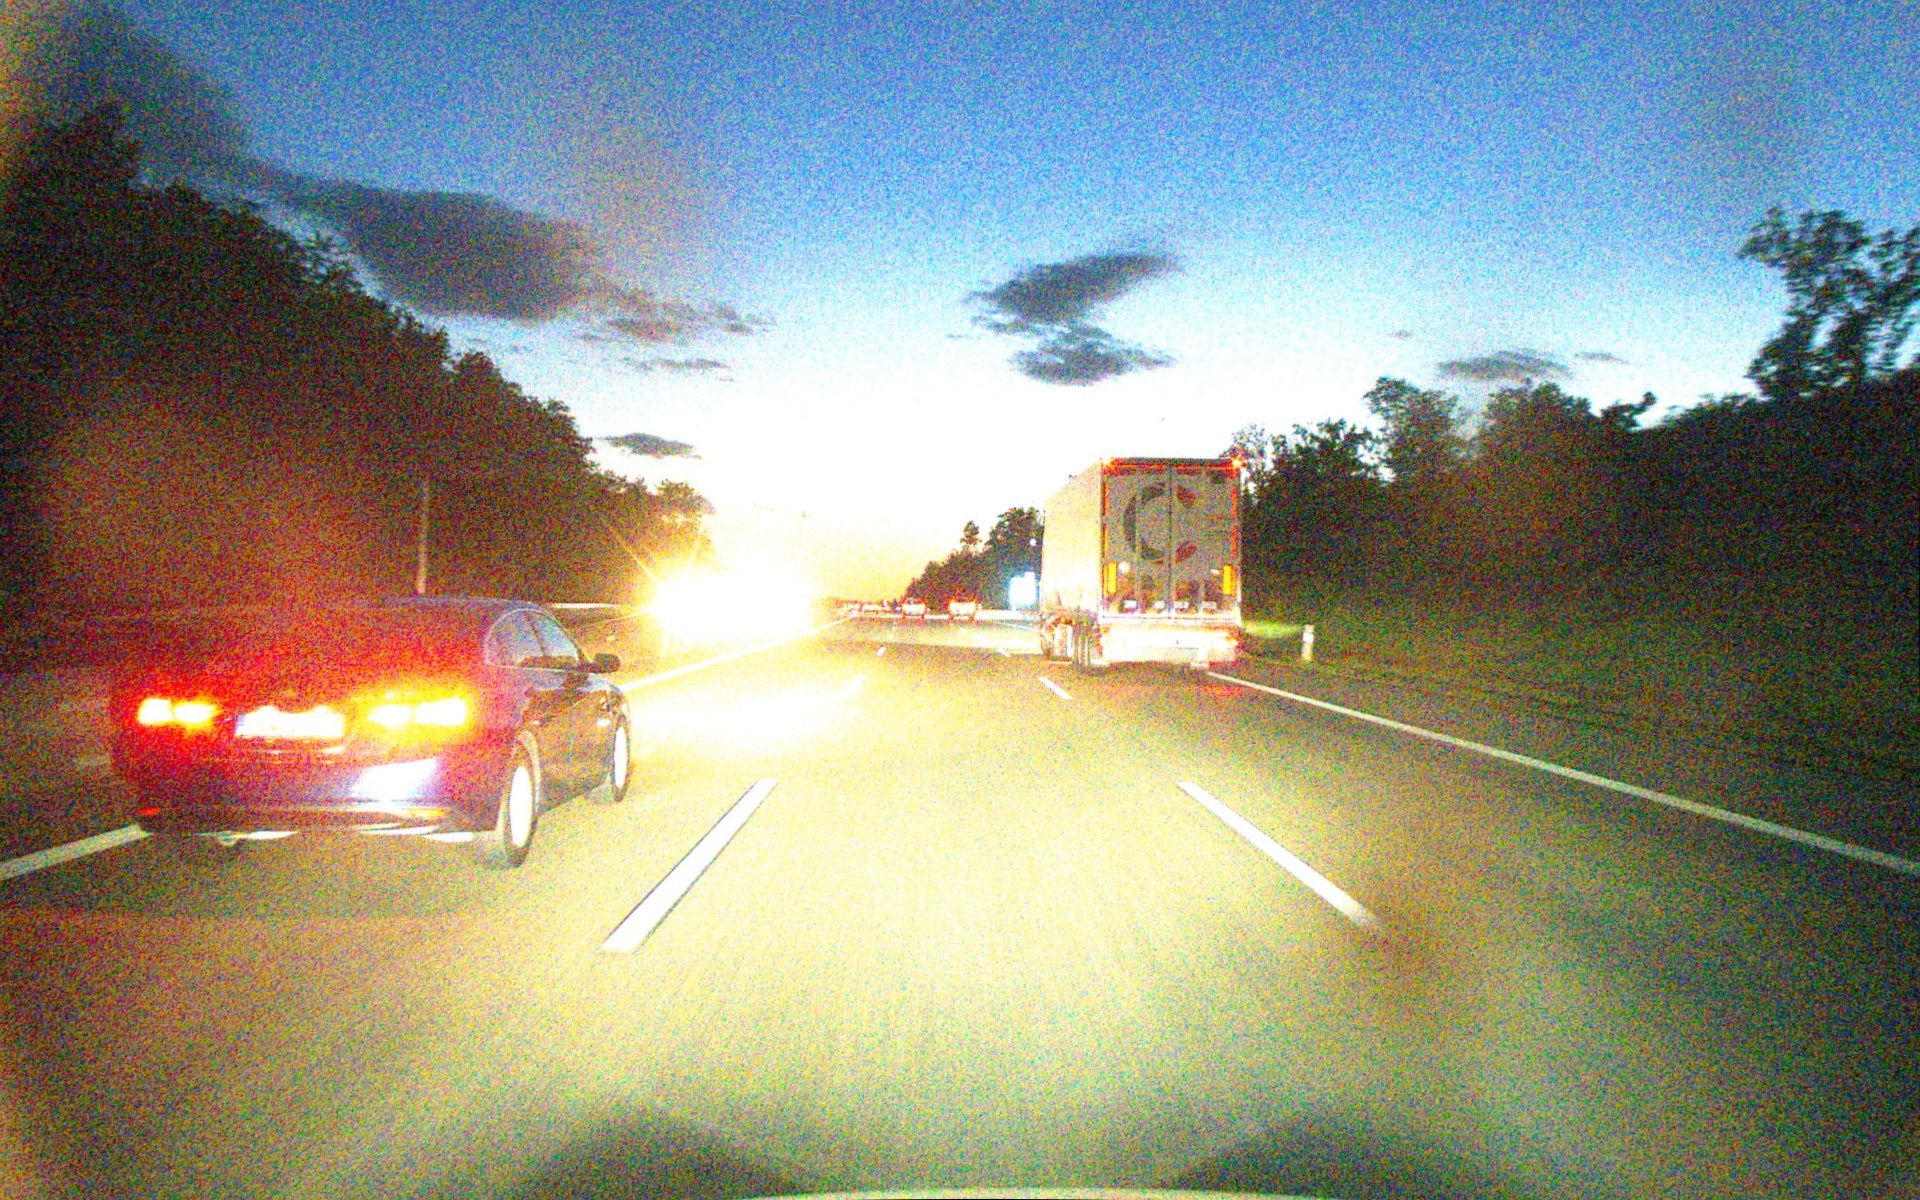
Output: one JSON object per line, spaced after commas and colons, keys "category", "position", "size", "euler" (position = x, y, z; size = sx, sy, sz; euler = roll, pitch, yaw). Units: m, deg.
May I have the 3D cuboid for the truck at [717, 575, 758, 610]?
{"category": "truck", "position": [-25.137, -0.836, 187.687], "size": [3.245, 3.874, 10.982], "euler": [1, 0, -1]}

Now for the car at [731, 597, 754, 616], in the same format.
{"category": "car", "position": [-20.500, 0.629, 156.005], "size": [1.710, 1.691, 3.999], "euler": [1, -1, -1]}

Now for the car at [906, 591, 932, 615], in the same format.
{"category": "car", "position": [-3.312, 0.235, 133.311], "size": [1.953, 1.825, 3.998], "euler": [1, -1, -2]}

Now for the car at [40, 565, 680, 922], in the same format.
{"category": "car", "position": [-3.198, 0.594, 10.327], "size": [1.953, 1.545, 5.651], "euler": [1, 1, 0]}

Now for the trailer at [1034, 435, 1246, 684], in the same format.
{"category": "trailer", "position": [3.549, -0.730, 37.599], "size": [2.771, 4.331, 17.047], "euler": [1, 0, 0]}

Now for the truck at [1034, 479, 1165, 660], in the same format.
{"category": "truck", "position": [3.512, -0.738, 43.020], "size": [2.771, 4.331, 6.262], "euler": [1, 0, 0]}

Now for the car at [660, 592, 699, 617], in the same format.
{"category": "car", "position": [-19.173, 0.296, 113.194], "size": [1.953, 1.691, 3.999], "euler": [1, 0, -1]}

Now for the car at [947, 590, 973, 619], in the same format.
{"category": "car", "position": [0.012, 0.380, 129.246], "size": [1.953, 2.154, 3.999], "euler": [1, -1, -1]}

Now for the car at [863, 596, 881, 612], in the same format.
{"category": "car", "position": [-10.776, 0.471, 203.043], "size": [1.953, 1.825, 3.999], "euler": [1, -1, -1]}
